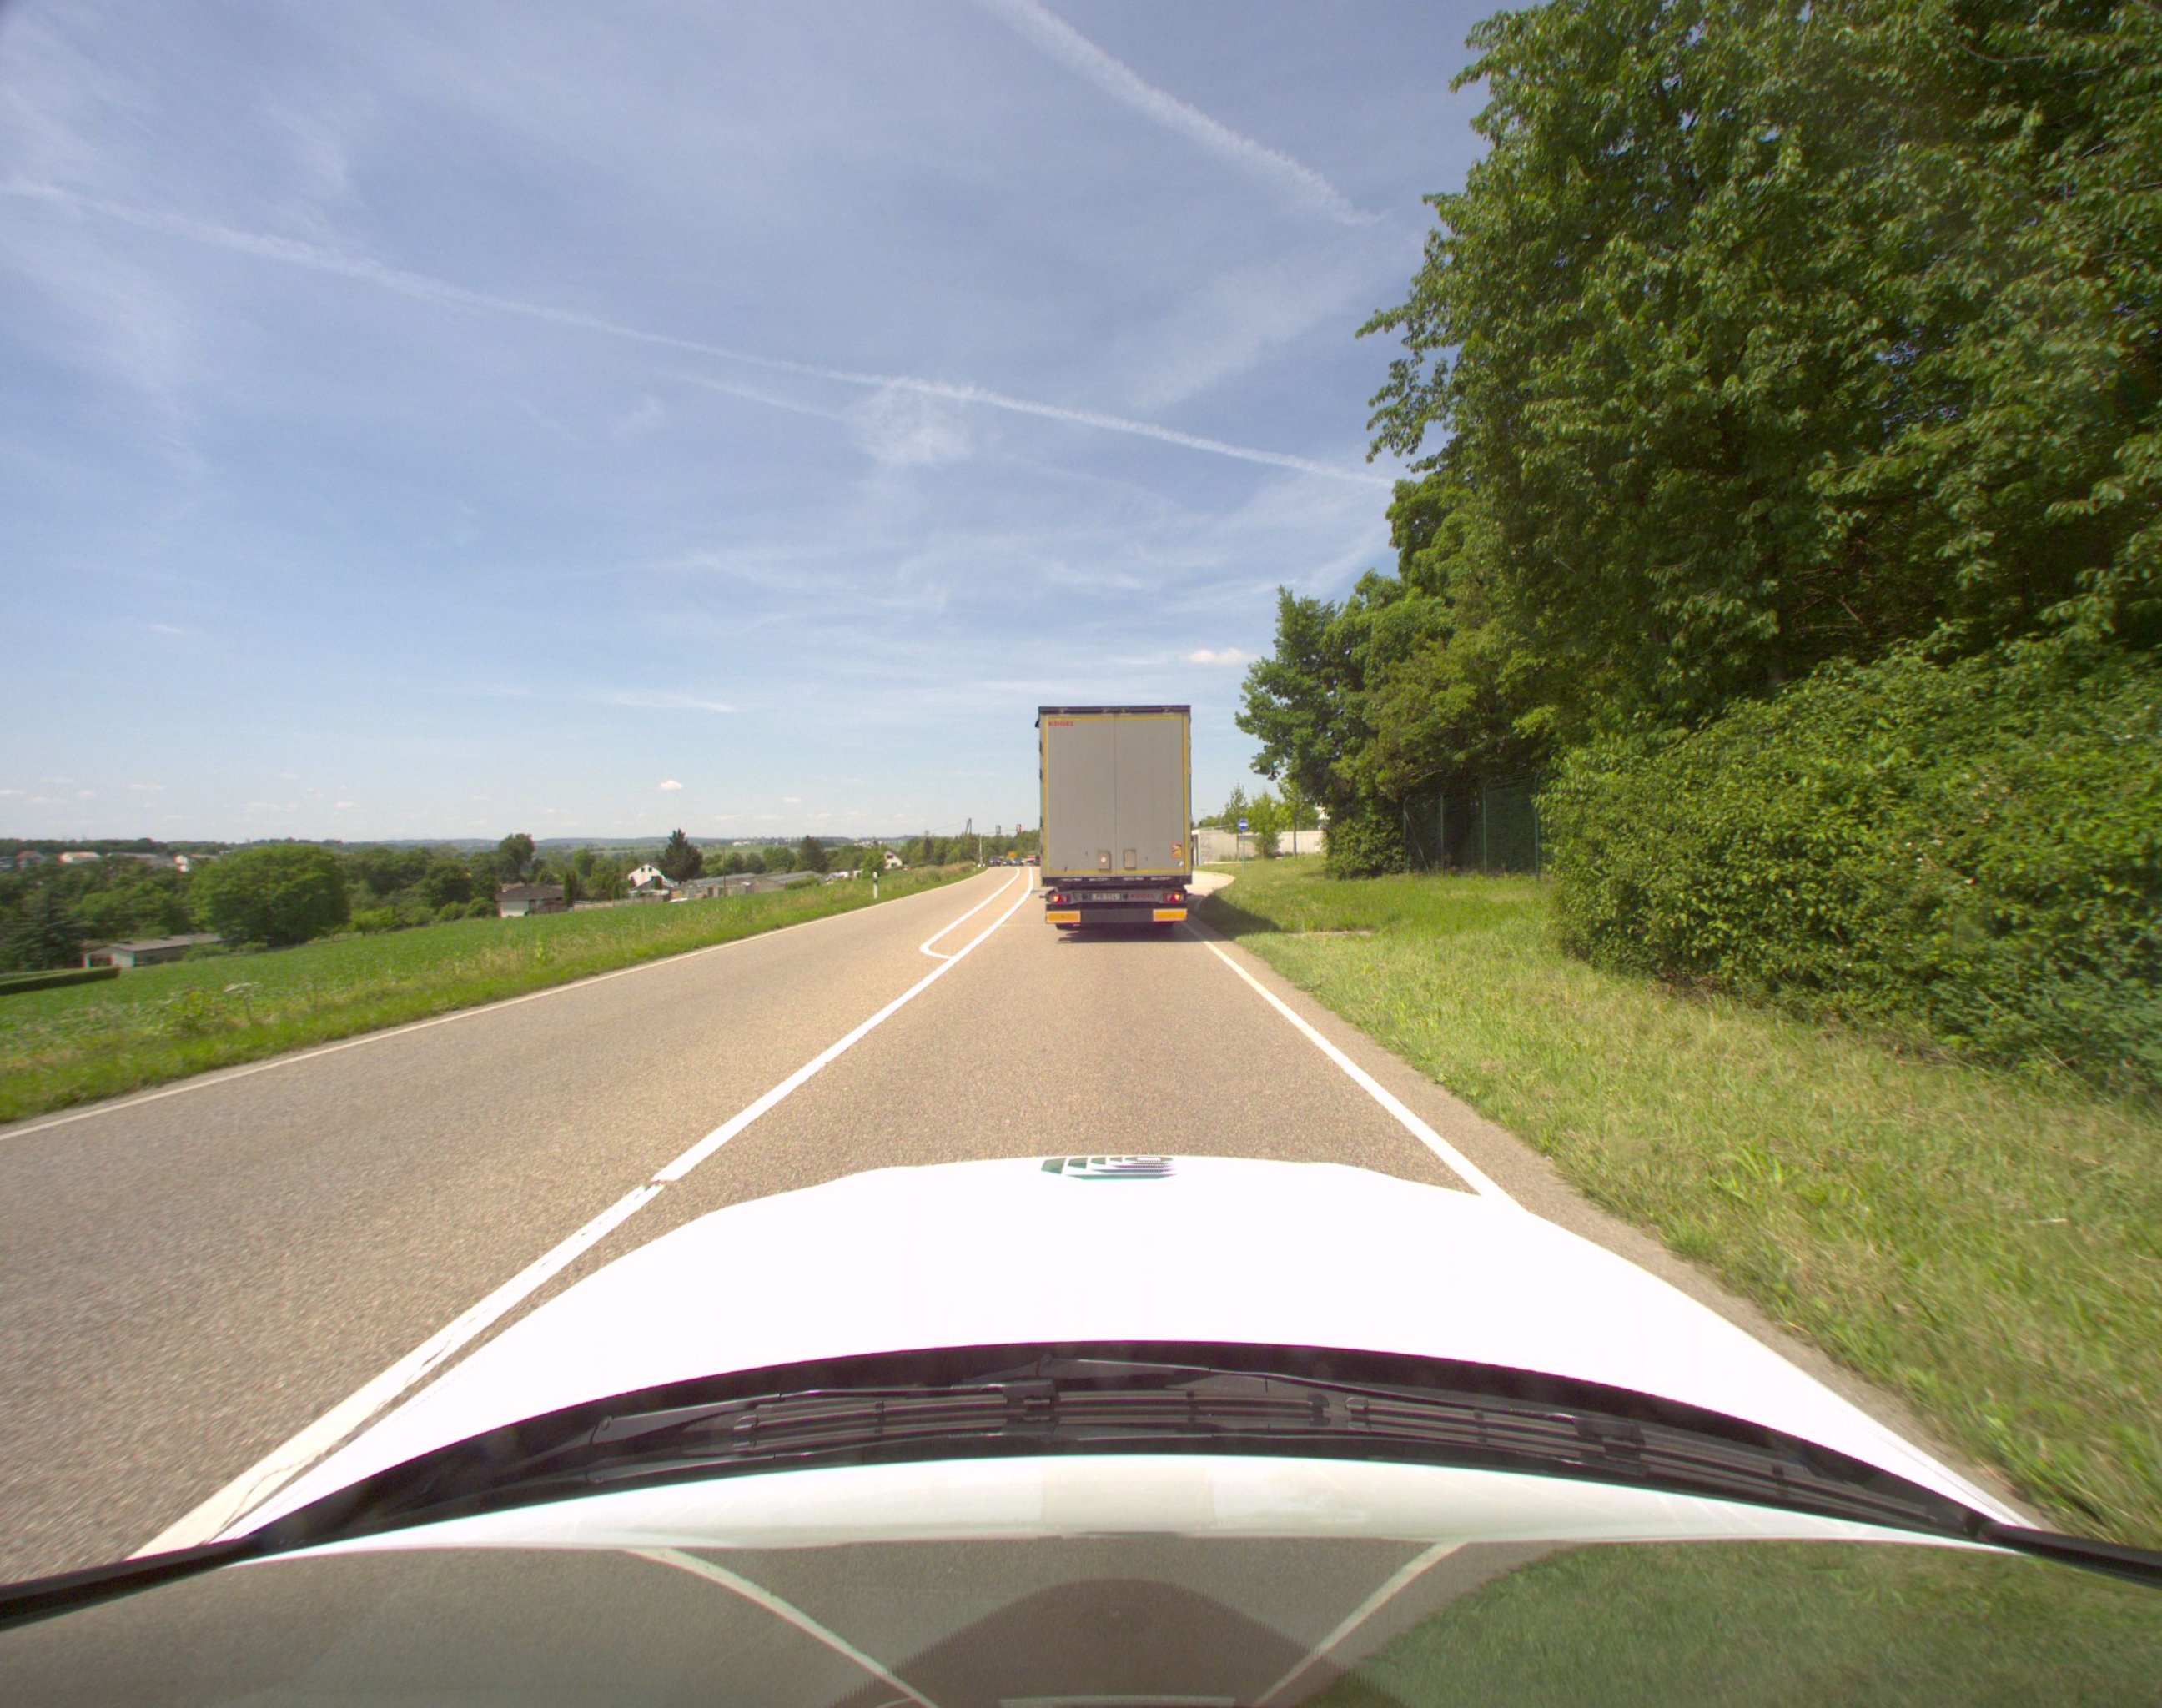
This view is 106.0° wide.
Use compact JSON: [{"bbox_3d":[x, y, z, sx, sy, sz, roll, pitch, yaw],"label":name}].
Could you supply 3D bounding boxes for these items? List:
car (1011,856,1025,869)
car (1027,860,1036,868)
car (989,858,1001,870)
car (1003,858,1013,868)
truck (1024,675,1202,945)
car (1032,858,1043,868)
[{"bbox_3d":[-10.306,1.357,133.047,1.989,1.950,4.498,-3,0,-2],"label":"car"},{"bbox_3d":[-11.872,2.494,195.218,1.887,1.777,4.383,-3,0,-2],"label":"car"},{"bbox_3d":[-15.949,1.883,151.902,1.990,1.978,5.270,-3,0,-5],"label":"car"},{"bbox_3d":[-15.434,1.849,171.509,1.990,1.815,4.289,-3,0,-5],"label":"car"},{"bbox_3d":[0.546,-0.737,17.766,2.897,4.410,8.859,0,0,0],"label":"truck"},{"bbox_3d":[-9.243,1.958,175.166,2.165,2.013,4.523,-3,0,-2],"label":"car"}]
